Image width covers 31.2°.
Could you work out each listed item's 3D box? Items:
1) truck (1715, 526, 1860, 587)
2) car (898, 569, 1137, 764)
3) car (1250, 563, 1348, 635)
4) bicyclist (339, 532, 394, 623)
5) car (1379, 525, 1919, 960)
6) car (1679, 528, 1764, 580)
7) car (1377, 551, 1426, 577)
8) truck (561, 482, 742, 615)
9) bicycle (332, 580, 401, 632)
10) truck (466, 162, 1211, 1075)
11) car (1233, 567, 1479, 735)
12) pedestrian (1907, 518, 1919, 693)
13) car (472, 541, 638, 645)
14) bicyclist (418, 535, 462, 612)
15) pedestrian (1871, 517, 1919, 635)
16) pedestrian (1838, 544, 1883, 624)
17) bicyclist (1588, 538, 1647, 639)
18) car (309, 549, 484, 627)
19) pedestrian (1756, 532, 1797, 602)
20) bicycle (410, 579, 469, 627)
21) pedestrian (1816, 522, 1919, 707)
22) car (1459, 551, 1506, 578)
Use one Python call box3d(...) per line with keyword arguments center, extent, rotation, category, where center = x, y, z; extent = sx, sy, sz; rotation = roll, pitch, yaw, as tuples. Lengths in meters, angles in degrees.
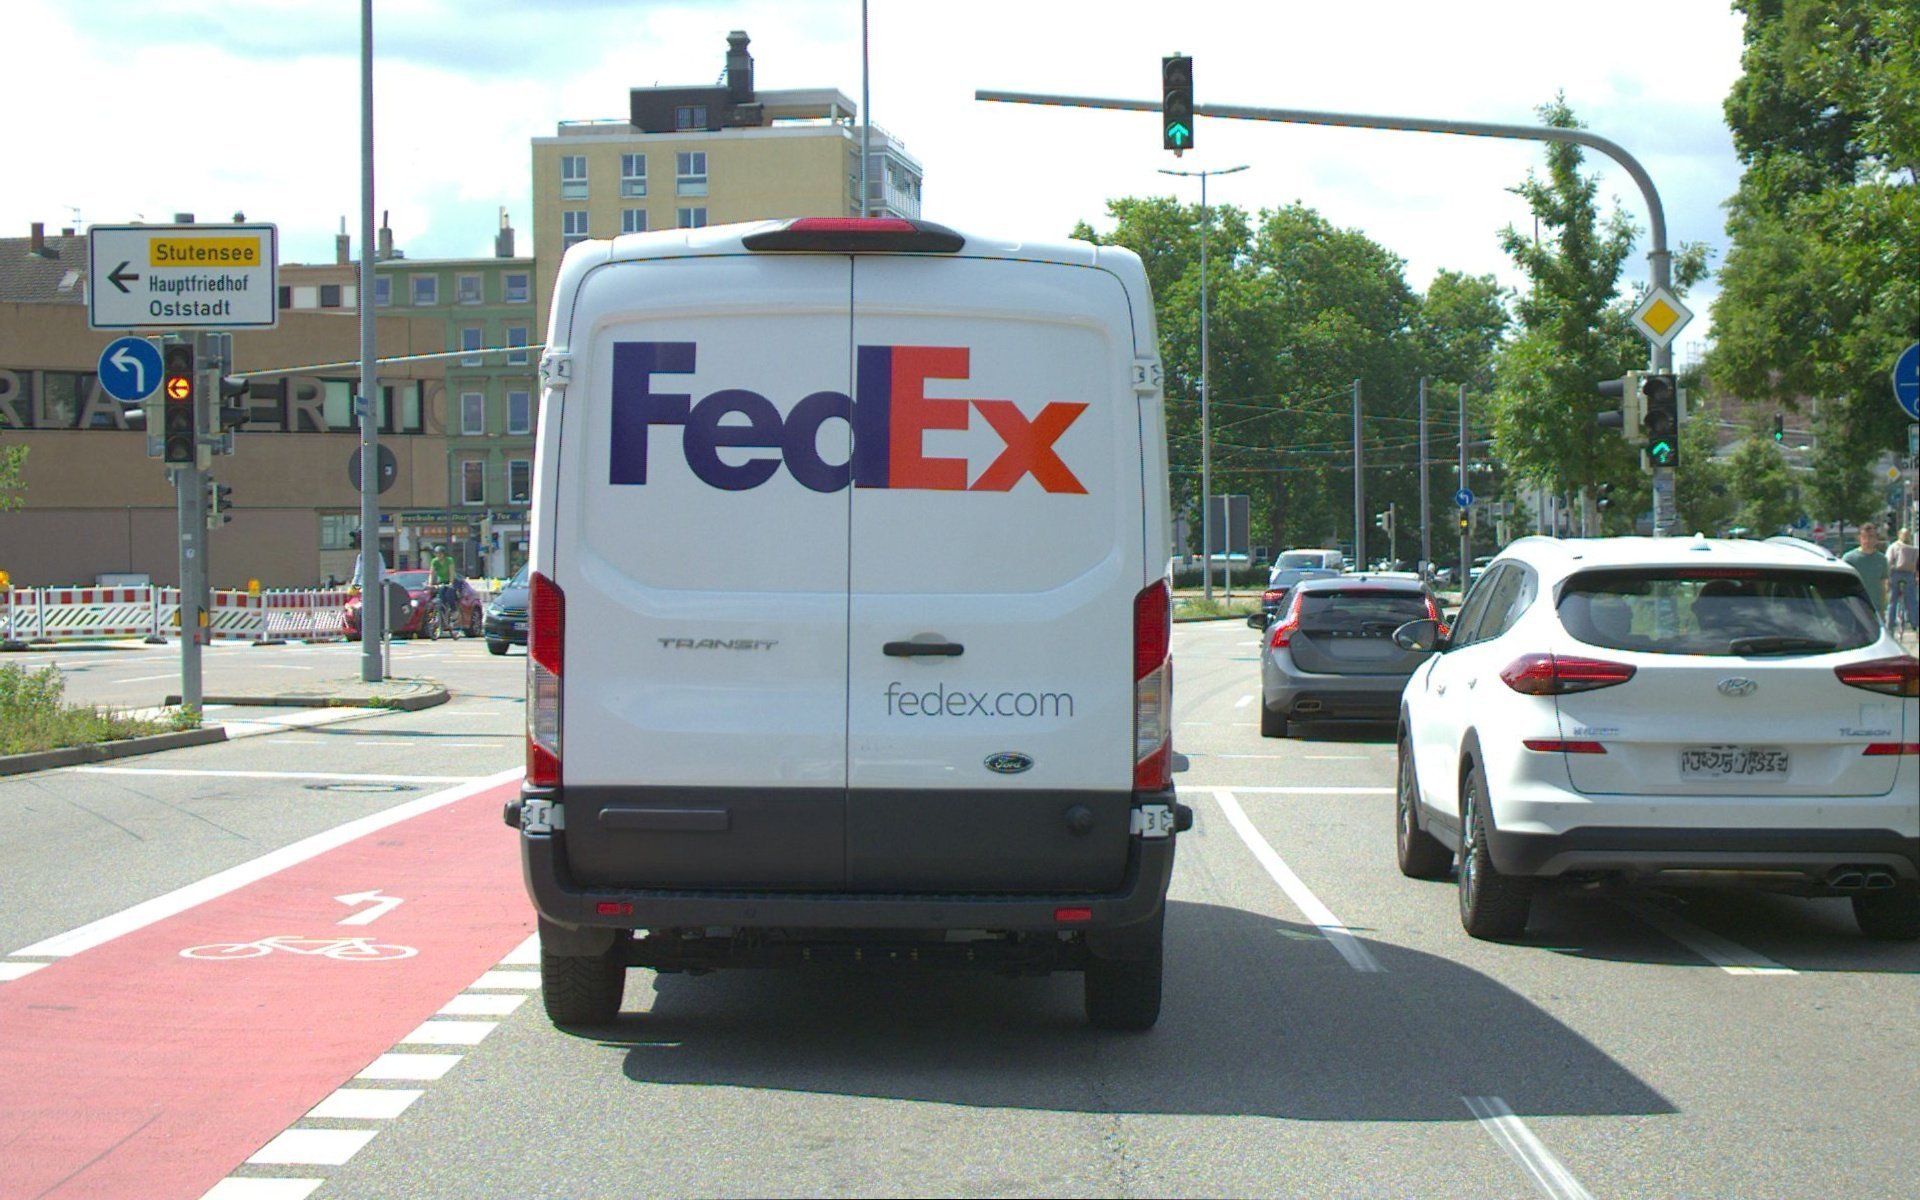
box3d(center=(40.056, -2.114, 166.209), extent=(2.892, 2.842, 8.770), rotation=(0, 1, 43), category="truck")
box3d(center=(0.528, 0.470, 27.357), extent=(1.741, 1.387, 4.179), rotation=(0, 1, 3), category="car")
box3d(center=(7.510, -0.046, 75.896), extent=(1.882, 1.501, 4.154), rotation=(1, 1, 10), category="car")
box3d(center=(-10.671, -0.415, 61.847), extent=(0.776, 1.613, 0.843), rotation=(-1, 1, 3), category="bicyclist")
box3d(center=(2.994, 0.505, 15.143), extent=(1.881, 1.636, 4.232), rotation=(-1, 1, 2), category="car")
box3d(center=(24.572, -1.483, 110.897), extent=(1.883, 1.636, 3.952), rotation=(0, 1, 25), category="car")
box3d(center=(27.363, -2.227, 212.982), extent=(1.996, 1.568, 4.173), rotation=(1, 0, 21), category="car")
box3d(center=(-7.366, -1.194, 83.042), extent=(1.995, 3.057, 7.325), rotation=(1, 0, 14), category="truck")
box3d(center=(-10.665, 0.105, 61.829), extent=(0.776, 0.886, 2.108), rotation=(-1, 1, 3), category="bicycle")
box3d(center=(-0.378, 0.030, 12.942), extent=(2.137, 2.631, 5.917), rotation=(1, 0, 0), category="truck")
box3d(center=(3.582, 0.424, 31.712), extent=(1.915, 1.415, 3.918), rotation=(-1, 1, 2), category="car")
box3d(center=(9.823, 0.045, 33.987), extent=(0.666, 1.740, 0.609), rotation=(-2, 1, -6), category="pedestrian")
box3d(center=(-6.546, -0.144, 55.962), extent=(1.881, 1.618, 4.155), rotation=(1, 1, 5), category="car")
box3d(center=(-9.933, -0.503, 65.632), extent=(0.565, 1.456, 0.836), rotation=(-1, 1, 10), category="bicyclist")
box3d(center=(14.588, -0.371, 53.317), extent=(0.750, 1.796, 0.609), rotation=(-2, 1, 7), category="pedestrian")
box3d(center=(20.920, -0.372, 79.883), extent=(0.756, 1.815, 0.780), rotation=(-4, 0, 2), category="pedestrian")
box3d(center=(10.749, -0.185, 56.210), extent=(0.828, 1.596, 0.579), rotation=(-3, -1, 7), category="bicyclist")
box3d(center=(-11.240, -0.257, 68.828), extent=(1.995, 1.481, 3.902), rotation=(-1, 1, 16), category="car")
box3d(center=(18.755, -0.753, 79.002), extent=(0.756, 1.584, 0.761), rotation=(1, 0, 2), category="pedestrian")
box3d(center=(-9.926, 0.047, 65.623), extent=(0.567, 0.886, 1.742), rotation=(-1, 1, 10), category="bicycle")
box3d(center=(8.966, 0.137, 33.823), extent=(0.749, 1.771, 0.882), rotation=(-2, 1, -6), category="pedestrian")
box3d(center=(32.040, -2.159, 210.744), extent=(1.996, 1.568, 4.173), rotation=(1, 0, 21), category="car")
